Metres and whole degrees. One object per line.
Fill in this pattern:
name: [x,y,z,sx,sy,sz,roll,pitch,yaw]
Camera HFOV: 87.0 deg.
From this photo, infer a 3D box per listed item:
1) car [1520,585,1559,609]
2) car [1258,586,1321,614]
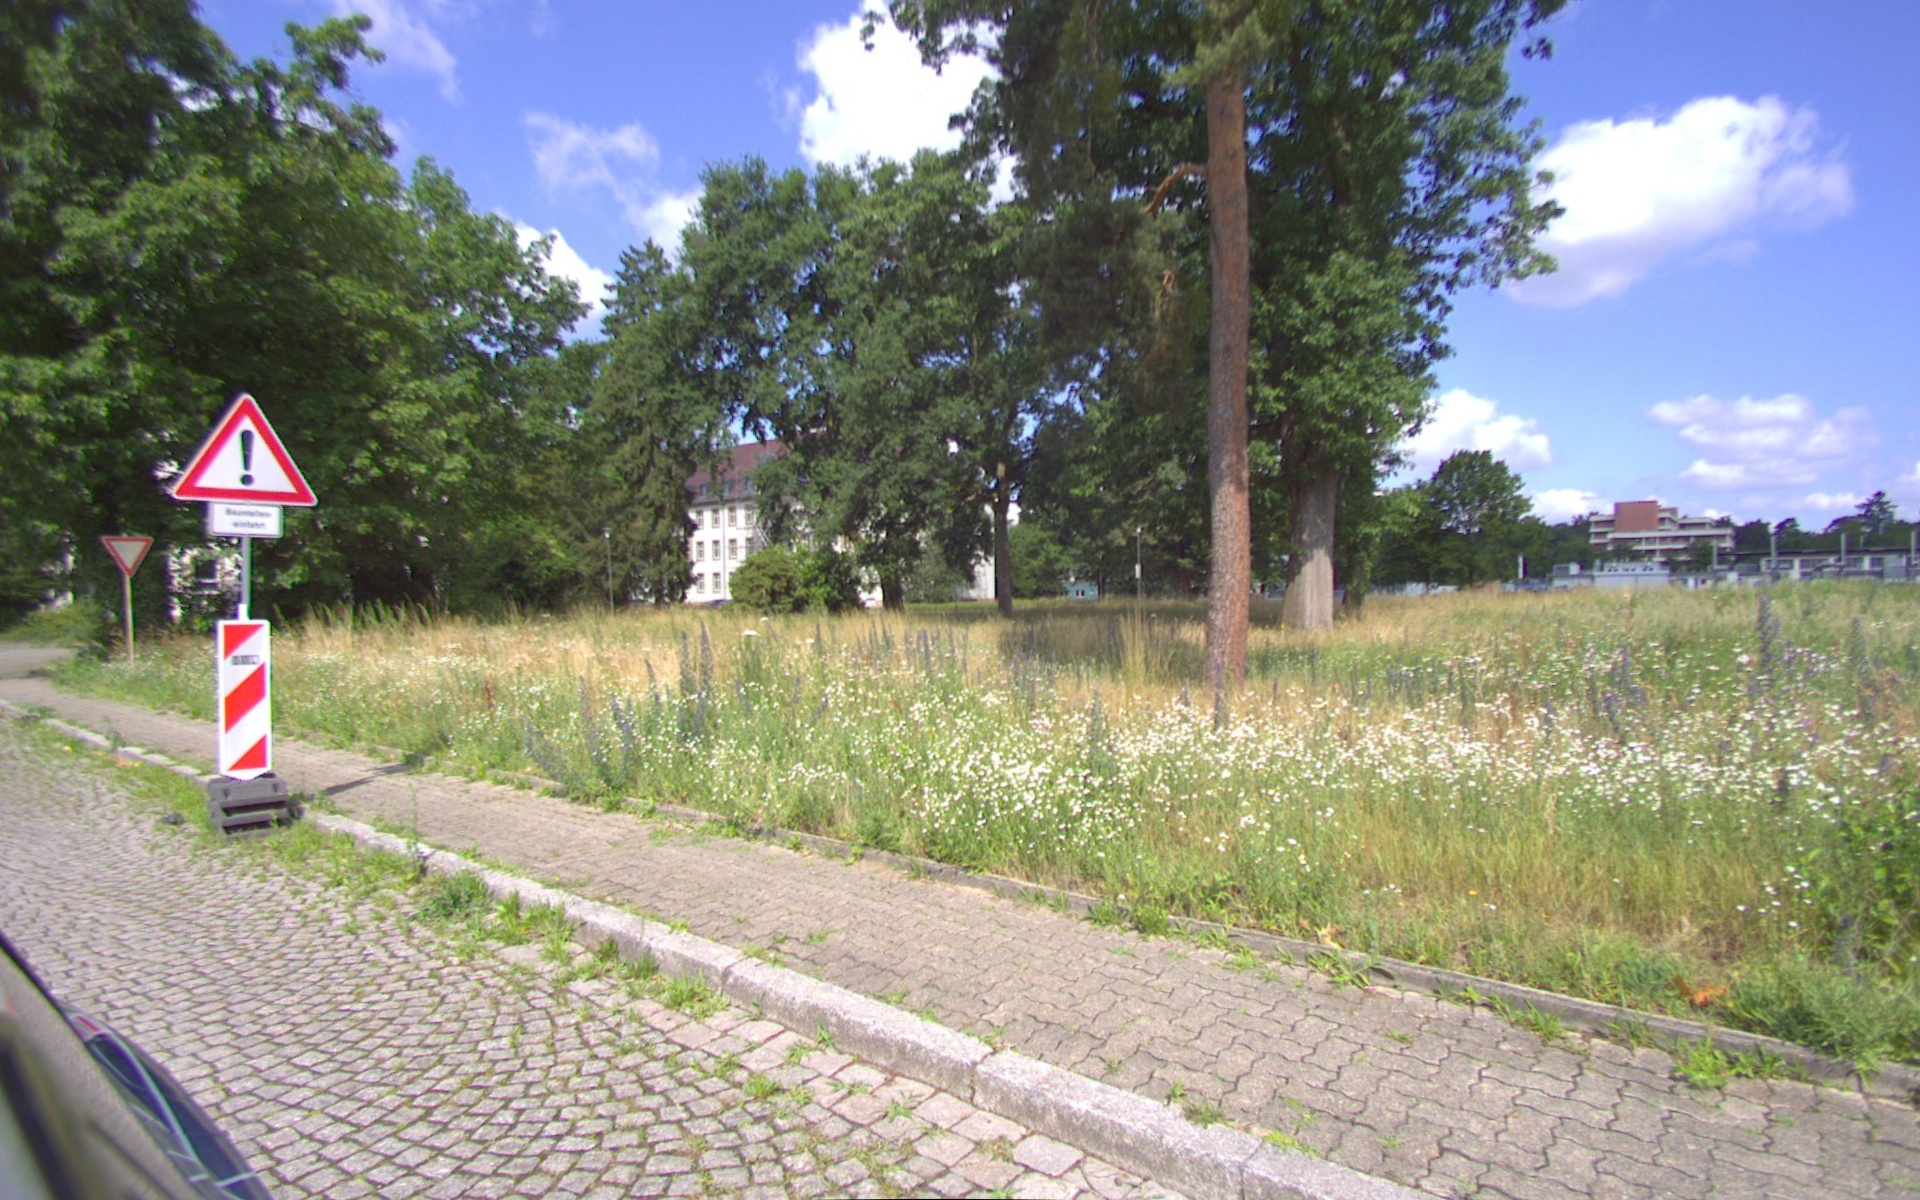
car: [42.499,-0.239,74.153,1.898,1.715,4.027,-1,0,38]
car: [17.356,-0.015,53.264,1.898,1.423,4.019,-1,0,38]
